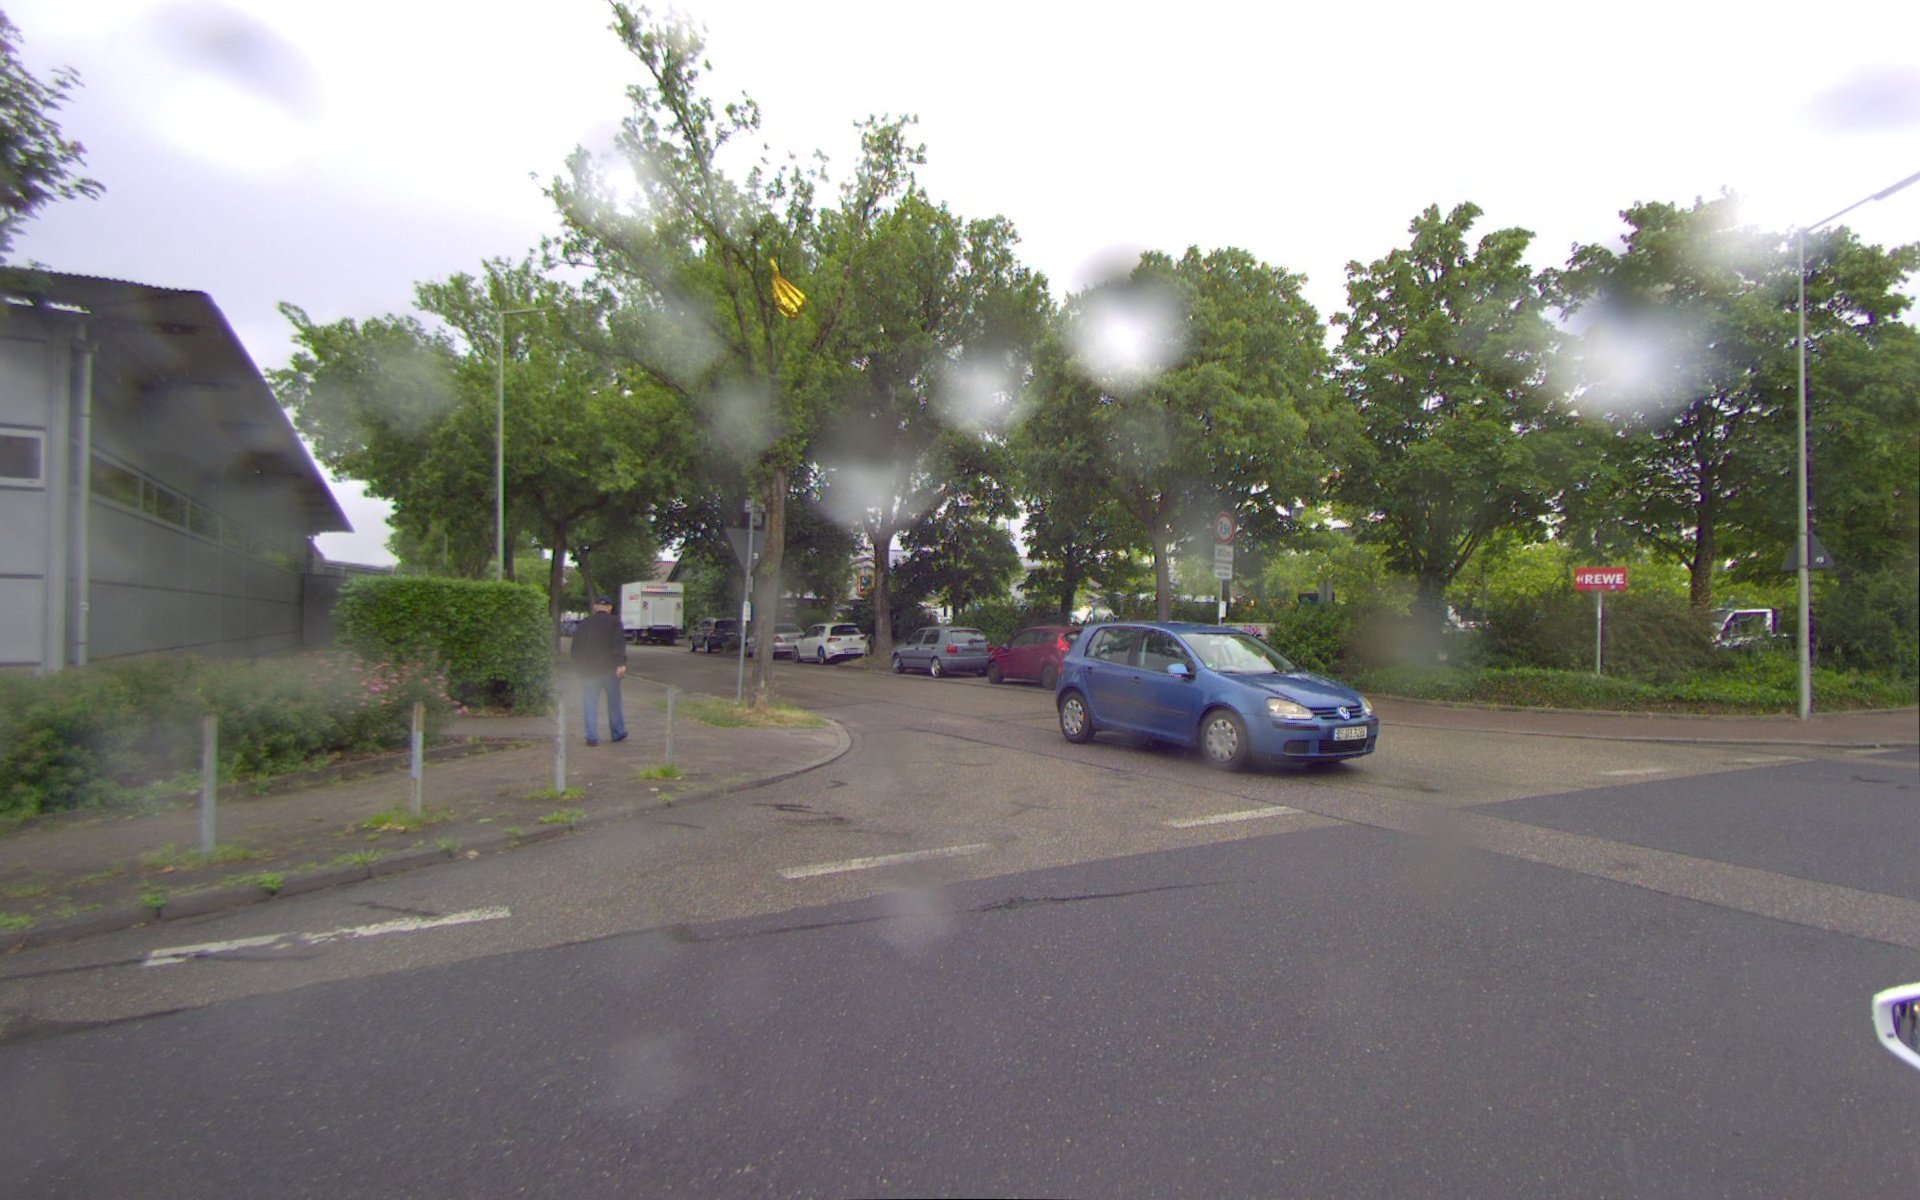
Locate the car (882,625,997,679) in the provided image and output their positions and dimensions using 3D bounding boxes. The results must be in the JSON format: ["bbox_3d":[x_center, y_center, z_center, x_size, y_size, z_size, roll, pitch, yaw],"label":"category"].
[{"bbox_3d":[-0.676,1.459,29.227,1.715,1.460,3.970,1,-2,-29],"label":"car"}]

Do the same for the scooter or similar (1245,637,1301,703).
[{"bbox_3d":[5.820,1.290,18.662,1.045,1.191,0.283,1,-1,-22],"label":"scooter or similar"}]

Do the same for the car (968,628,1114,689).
[{"bbox_3d":[1.915,1.395,24.932,1.715,1.381,3.970,1,-2,-29],"label":"car"}]

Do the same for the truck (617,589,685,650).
[{"bbox_3d":[-19.115,1.229,61.929,2.572,3.515,6.762,1,-2,-30],"label":"truck"}]

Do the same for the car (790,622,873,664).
[{"bbox_3d":[-4.755,1.539,36.756,1.715,1.460,3.970,1,-2,-29],"label":"car"}]

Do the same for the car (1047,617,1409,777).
[{"bbox_3d":[2.797,0.955,11.380,1.715,1.460,3.970,1,-2,-29],"label":"car"}]

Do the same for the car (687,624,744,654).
[{"bbox_3d":[-11.991,1.872,49.168,1.715,1.401,4.066,1,-2,-29],"label":"car"}]

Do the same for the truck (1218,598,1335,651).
[{"bbox_3d":[16.514,1.296,52.348,6.315,2.636,1.986,1,-1,-28],"label":"truck"}]

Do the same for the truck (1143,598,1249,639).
[{"bbox_3d":[12.961,1.028,54.974,6.065,2.122,1.983,1,-1,-32],"label":"truck"}]

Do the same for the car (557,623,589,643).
[{"bbox_3d":[-32.607,2.769,84.590,1.904,1.593,3.966,2,-2,-31],"label":"car"}]

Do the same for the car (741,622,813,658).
[{"bbox_3d":[-7.607,1.640,41.540,1.715,1.401,4.066,1,-2,-29],"label":"car"}]

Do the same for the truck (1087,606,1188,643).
[{"bbox_3d":[10.429,1.446,58.819,6.065,2.087,1.983,2,-2,-32],"label":"truck"}]

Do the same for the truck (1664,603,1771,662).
[{"bbox_3d":[37.548,1.614,49.732,6.392,2.789,1.984,2,-1,-31],"label":"truck"}]

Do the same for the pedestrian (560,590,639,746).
[{"bbox_3d":[-4.056,0.751,11.360,0.746,1.696,0.780,1,-1,-15],"label":"pedestrian"}]

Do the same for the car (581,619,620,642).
[{"bbox_3d":[-25.670,2.178,71.640,1.904,1.593,3.966,2,-2,-31],"label":"car"}]

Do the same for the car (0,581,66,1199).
[{"bbox_3d":[-3.327,0.676,0.630,1.712,1.460,3.978,-2,-2,42],"label":"car"}]
